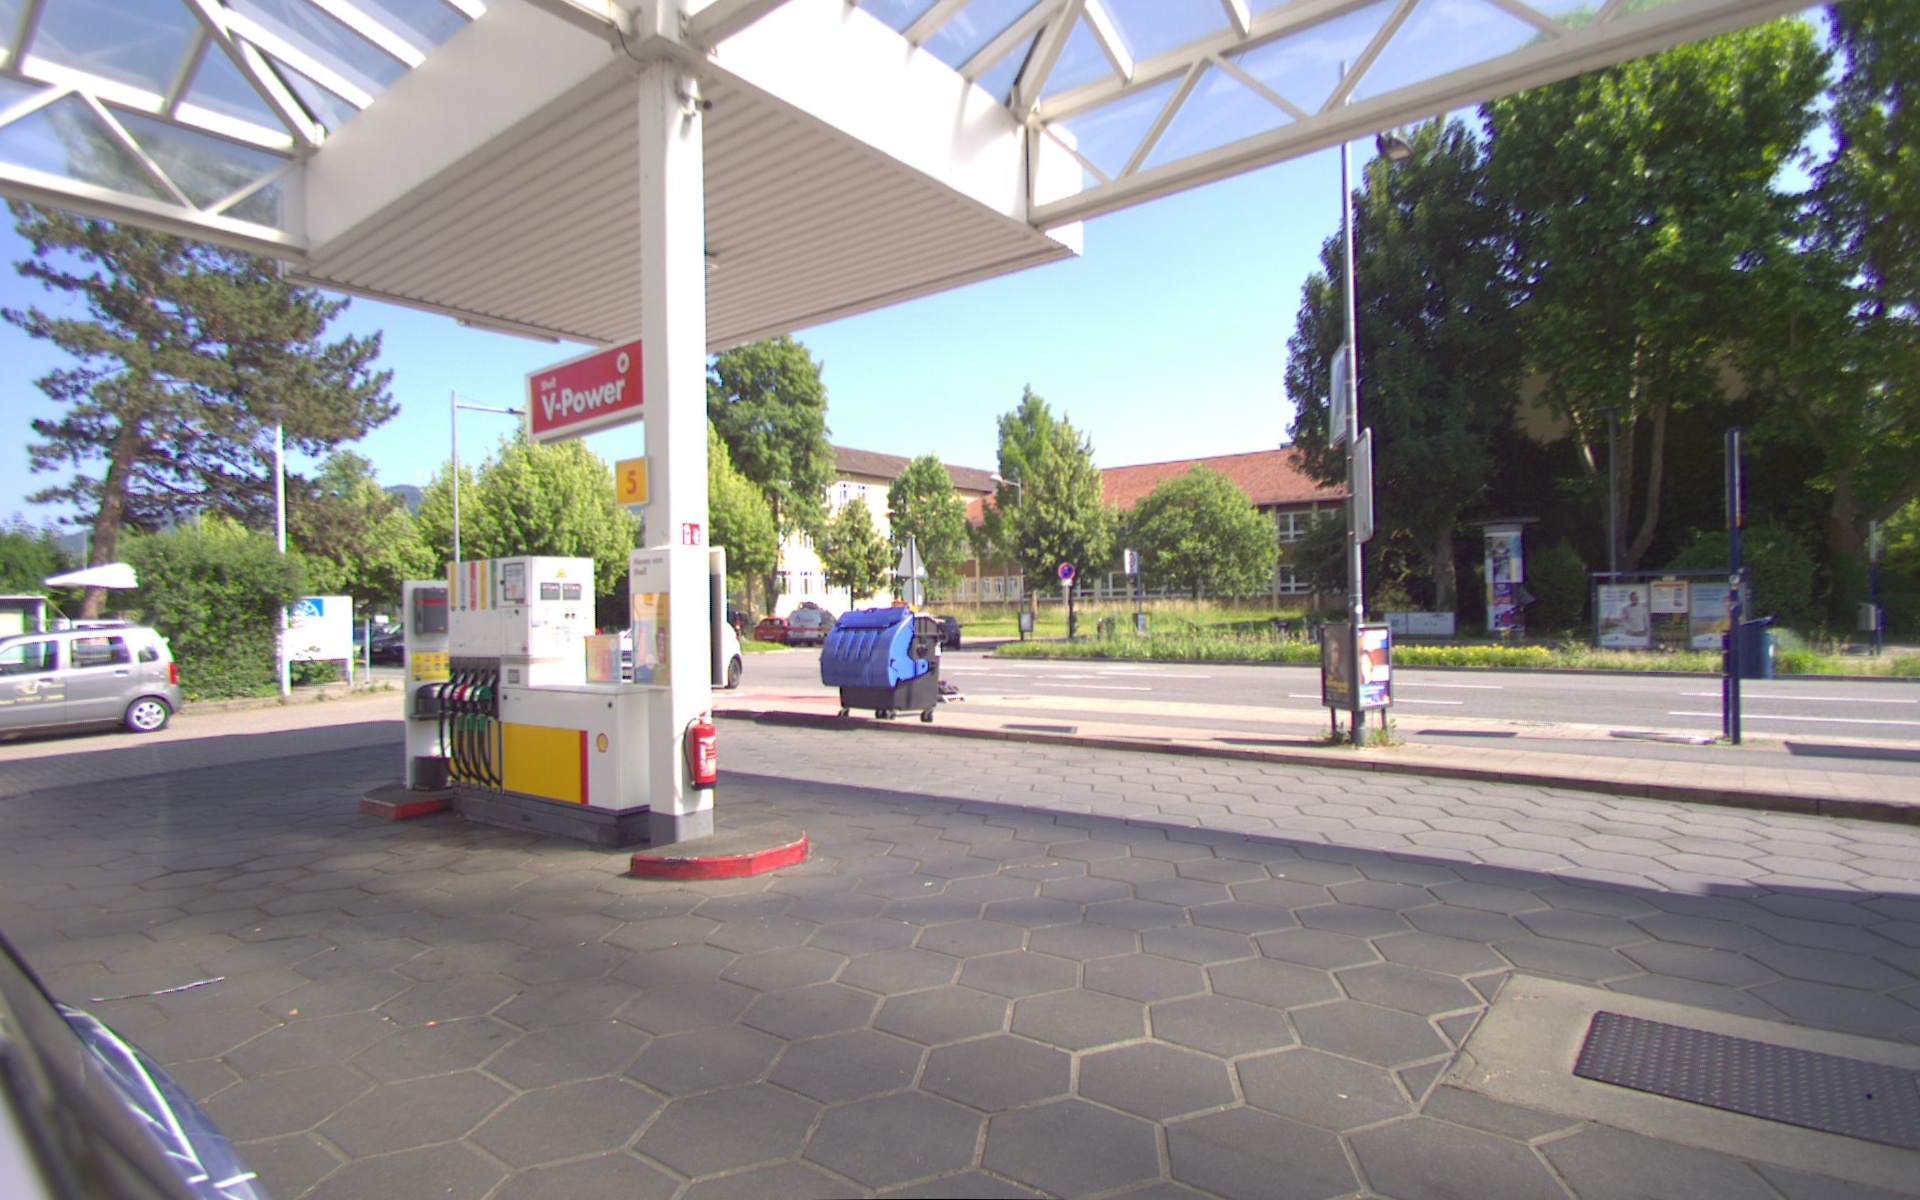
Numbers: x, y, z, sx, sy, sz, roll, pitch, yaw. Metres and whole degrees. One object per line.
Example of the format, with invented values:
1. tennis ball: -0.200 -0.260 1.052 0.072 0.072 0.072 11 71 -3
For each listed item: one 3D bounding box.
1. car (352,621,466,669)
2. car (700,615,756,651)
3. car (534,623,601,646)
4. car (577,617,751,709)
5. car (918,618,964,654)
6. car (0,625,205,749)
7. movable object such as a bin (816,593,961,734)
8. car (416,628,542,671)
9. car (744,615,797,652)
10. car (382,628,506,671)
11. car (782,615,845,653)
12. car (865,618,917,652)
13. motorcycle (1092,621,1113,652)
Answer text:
1. car: -21.010 1.699 38.811 1.684 1.733 4.396 0 -1 5
2. car: -11.537 1.650 50.614 1.855 1.735 4.226 0 -2 -1
3. car: -24.044 2.122 62.181 1.867 1.401 3.701 0 -2 20
4. car: -6.216 1.272 21.823 1.939 1.719 4.295 -2 -1 9
5. car: -0.787 1.567 43.837 1.718 1.471 4.222 -1 -2 2
6. car: -13.785 1.279 15.187 1.691 1.629 3.614 -2 0 40
7. movable object such as a bin: -0.921 0.804 13.192 1.336 1.701 1.325 -2 -3 40
8. car: -16.790 1.707 35.565 1.862 1.428 4.210 -1 -2 12
9. car: -9.369 1.659 50.380 1.855 1.735 4.226 0 -2 -1
10. car: -18.961 1.777 37.397 1.862 1.493 4.210 -1 -2 12
11. car: -6.987 1.619 48.703 1.860 1.735 4.213 0 -2 9
12. car: -3.056 1.573 45.564 1.856 1.471 4.222 0 -2 3
13. motorcycle: 5.428 1.381 38.456 0.552 1.122 1.750 -1 -1 15
